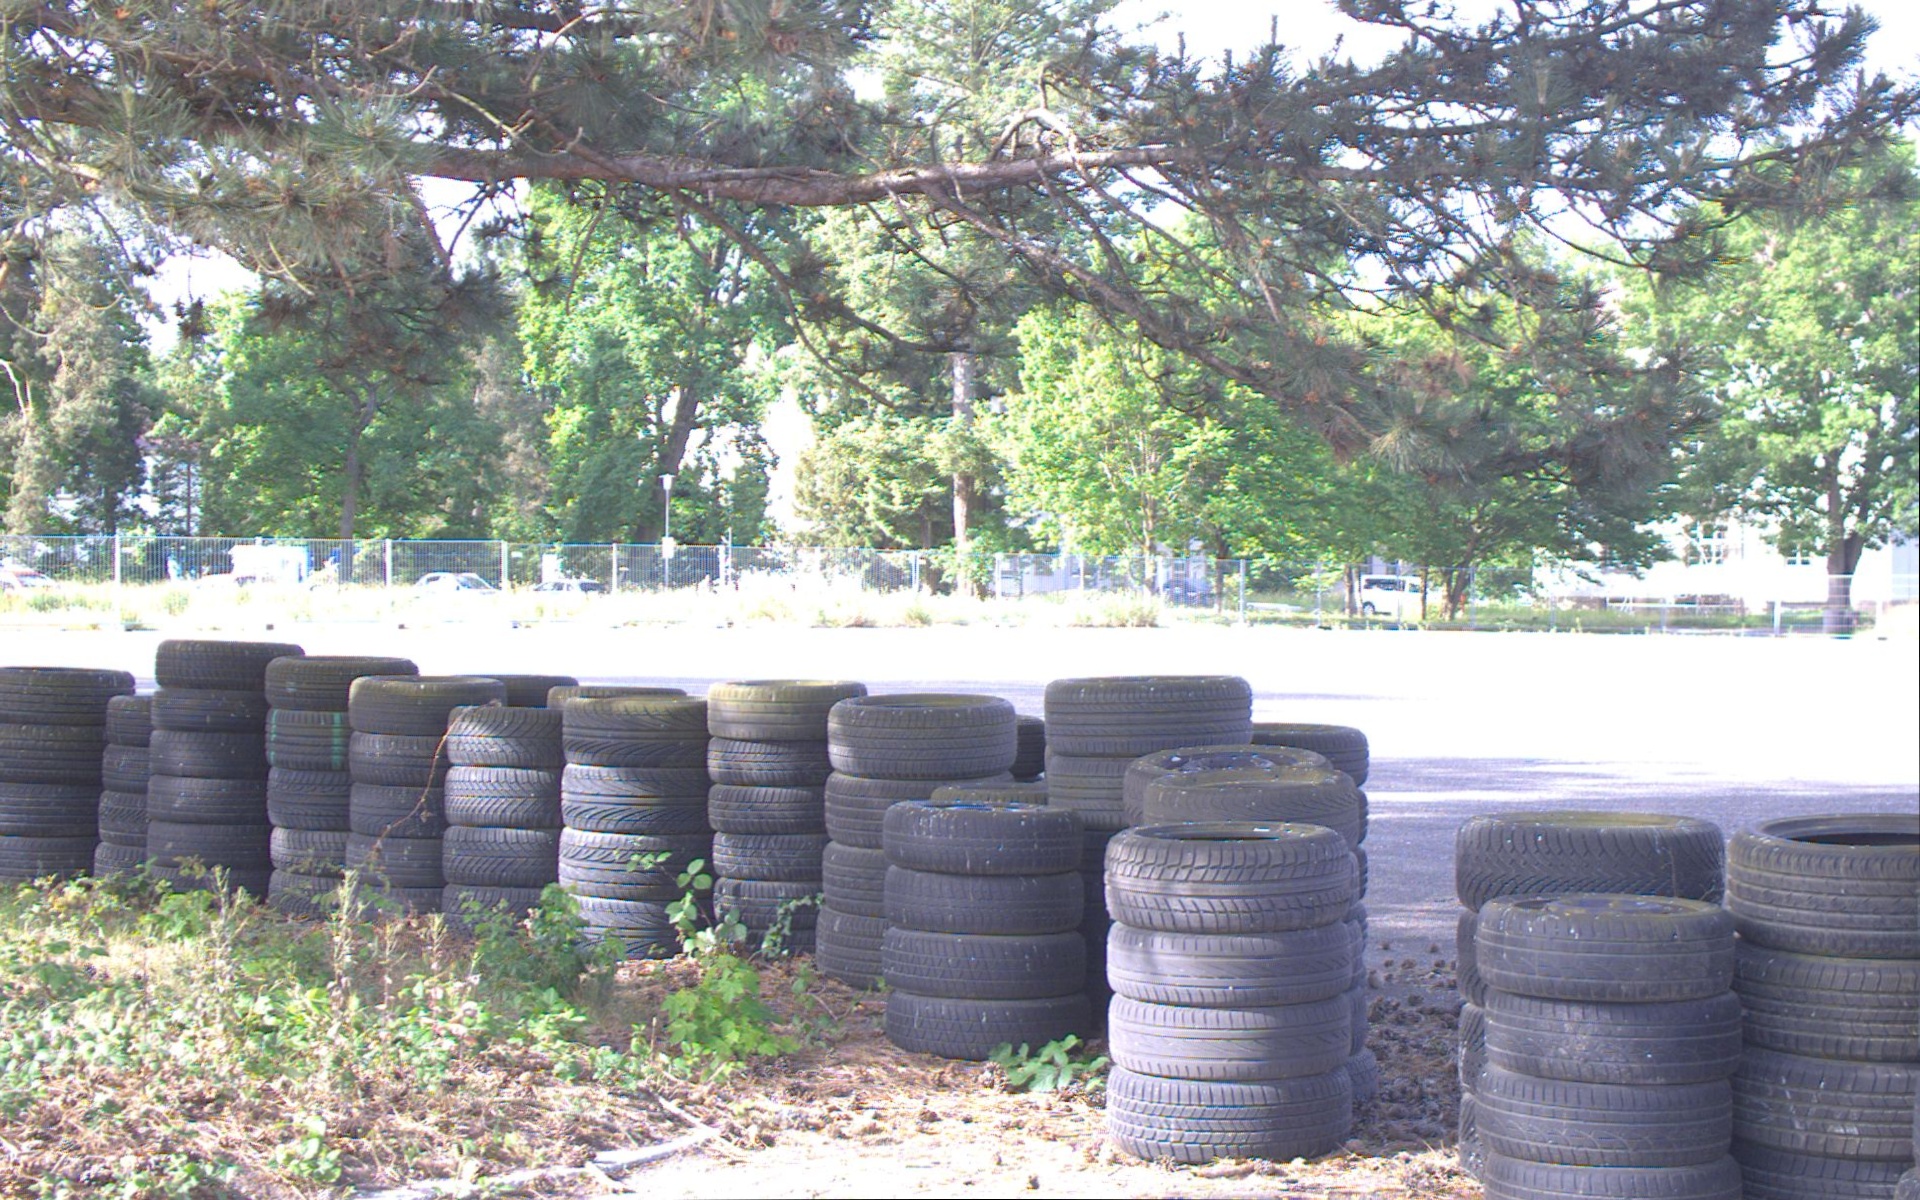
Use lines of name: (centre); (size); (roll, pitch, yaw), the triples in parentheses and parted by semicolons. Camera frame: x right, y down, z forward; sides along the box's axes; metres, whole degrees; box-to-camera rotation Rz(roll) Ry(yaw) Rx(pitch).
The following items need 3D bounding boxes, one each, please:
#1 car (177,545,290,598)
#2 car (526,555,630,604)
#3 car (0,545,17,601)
car: (-24.434, -0.971, 115.631); (1.994, 1.744, 3.998); (0, 1, -41)
car: (-14.108, -0.774, 126.785); (1.994, 1.744, 3.999); (0, 1, -38)
car: (-31.554, -0.858, 108.226); (1.994, 1.744, 3.998); (0, 1, -42)
